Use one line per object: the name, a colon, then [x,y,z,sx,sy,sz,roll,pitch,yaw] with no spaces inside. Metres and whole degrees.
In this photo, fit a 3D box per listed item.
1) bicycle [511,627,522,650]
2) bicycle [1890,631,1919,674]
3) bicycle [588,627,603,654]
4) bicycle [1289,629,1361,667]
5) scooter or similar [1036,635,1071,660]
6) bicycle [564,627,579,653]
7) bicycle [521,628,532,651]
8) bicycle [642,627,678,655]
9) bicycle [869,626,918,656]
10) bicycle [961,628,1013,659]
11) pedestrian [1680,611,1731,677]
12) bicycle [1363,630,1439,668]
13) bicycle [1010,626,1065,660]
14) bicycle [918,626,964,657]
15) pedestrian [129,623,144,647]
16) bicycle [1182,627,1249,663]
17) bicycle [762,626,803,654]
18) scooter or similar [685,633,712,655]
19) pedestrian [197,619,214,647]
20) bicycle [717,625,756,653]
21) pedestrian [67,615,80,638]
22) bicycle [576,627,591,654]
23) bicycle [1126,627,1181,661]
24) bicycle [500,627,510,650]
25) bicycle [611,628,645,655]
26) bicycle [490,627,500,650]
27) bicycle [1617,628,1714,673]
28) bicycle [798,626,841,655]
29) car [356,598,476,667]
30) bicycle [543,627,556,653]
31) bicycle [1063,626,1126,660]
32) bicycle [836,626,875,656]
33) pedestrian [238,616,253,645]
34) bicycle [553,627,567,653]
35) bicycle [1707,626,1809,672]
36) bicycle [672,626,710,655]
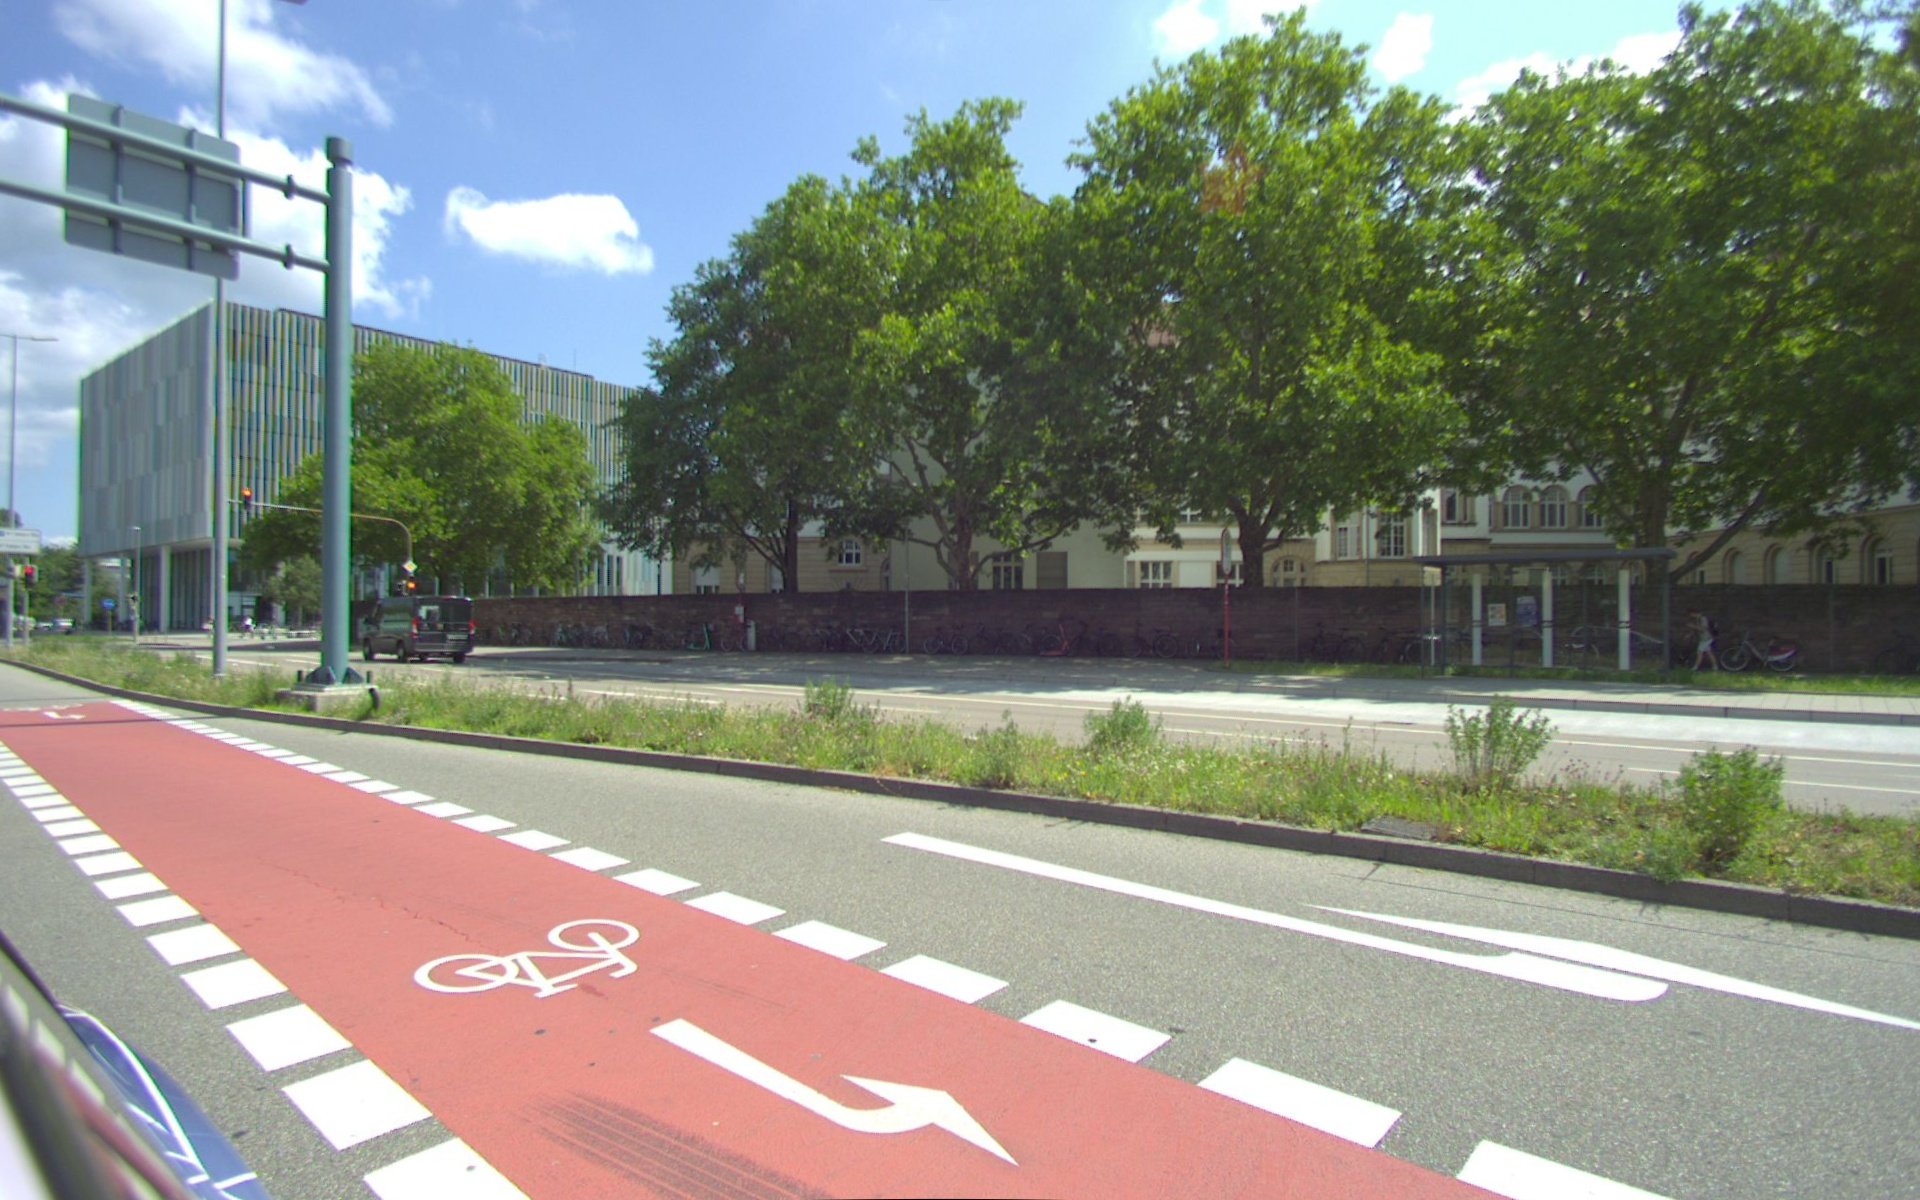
bicycle: [-20.244,1.766,46.215,0.324,1.025,1.675,1,-1,-27]
bicycle: [24.022,1.298,24.890,1.671,1.038,0.396,0,-1,15]
bicycle: [-15.501,1.714,43.047,0.376,1.116,1.675,1,-1,-27]
bicycle: [10.562,1.380,29.339,1.945,1.051,0.395,0,-1,22]
scooter or similar: [2.954,1.498,32.011,1.060,0.800,0.351,0,-1,17]
bicycle: [-16.871,1.724,43.933,0.376,1.116,1.675,1,-1,-27]
bicycle: [-19.639,1.769,45.824,0.324,1.025,1.675,1,-1,-27]
bicycle: [-12.177,1.666,41.100,1.664,1.116,0.379,-1,-2,31]
bicycle: [-2.323,1.424,35.422,1.753,1.051,0.394,-1,-1,28]
bicycle: [0.895,1.441,33.759,1.753,1.011,0.394,-1,-1,28]
pedestrian: [18.734,1.097,25.435,0.773,1.623,0.720,0,-1,12]
bicycle: [12.423,1.366,28.547,1.945,1.051,0.395,0,-1,22]
bicycle: [2.511,1.389,32.936,1.752,1.051,0.394,-1,-1,26]
bicycle: [-0.639,1.406,34.560,1.576,1.051,0.394,-1,-1,28]
pedestrian: [-69.299,2.922,85.153,0.806,1.931,0.816,0,0,36]
bicycle: [7.731,1.350,30.633,1.945,1.051,0.395,0,-1,22]
bicycle: [-6.640,1.486,37.806,1.663,1.051,0.379,-1,-1,29]
scooter or similar: [-10.089,1.692,39.088,1.065,0.850,0.350,-1,-1,29]
pedestrian: [-52.577,2.299,70.501,0.806,1.931,0.706,0,0,36]
bicycle: [-8.566,1.494,38.771,1.663,1.051,0.379,-1,-1,29]
pedestrian: [-76.887,2.312,87.791,0.806,1.931,0.706,0,0,36]
bicycle: [-16.157,1.717,43.443,0.376,1.116,1.675,1,-1,-27]
bicycle: [5.984,1.352,31.364,1.629,1.051,0.395,0,-1,22]
bicycle: [-21.027,1.766,46.727,0.324,1.025,1.675,1,-1,-27]
bicycle: [-13.862,1.718,42.226,1.665,1.116,0.378,-1,-2,32]
bicycle: [-21.661,1.769,47.109,0.324,1.025,1.675,1,-1,-27]
bicycle: [18.481,1.314,26.541,2.022,1.146,0.396,0,-1,18]
bicycle: [-5.133,1.476,36.932,1.663,1.051,0.379,-1,-1,29]
car: [-18.526,1.114,34.408,4.519,2.188,2.185,-1,-3,42]
bicycle: [-18.049,1.730,44.484,0.376,1.116,1.675,1,-1,-27]
bicycle: [4.262,1.364,32.093,1.946,1.051,0.395,-1,-1,25]
bicycle: [-3.749,1.451,36.170,1.409,1.051,0.374,-1,-1,27]
pedestrian: [-48.617,2.083,68.871,0.718,1.932,0.624,0,0,38]
bicycle: [-17.553,1.727,44.390,0.376,1.116,1.675,1,-1,-27]
bicycle: [20.450,1.237,25.956,2.022,1.146,0.396,0,-1,18]
bicycle: [-10.716,1.615,40.239,1.663,1.116,0.379,-1,-1,29]
